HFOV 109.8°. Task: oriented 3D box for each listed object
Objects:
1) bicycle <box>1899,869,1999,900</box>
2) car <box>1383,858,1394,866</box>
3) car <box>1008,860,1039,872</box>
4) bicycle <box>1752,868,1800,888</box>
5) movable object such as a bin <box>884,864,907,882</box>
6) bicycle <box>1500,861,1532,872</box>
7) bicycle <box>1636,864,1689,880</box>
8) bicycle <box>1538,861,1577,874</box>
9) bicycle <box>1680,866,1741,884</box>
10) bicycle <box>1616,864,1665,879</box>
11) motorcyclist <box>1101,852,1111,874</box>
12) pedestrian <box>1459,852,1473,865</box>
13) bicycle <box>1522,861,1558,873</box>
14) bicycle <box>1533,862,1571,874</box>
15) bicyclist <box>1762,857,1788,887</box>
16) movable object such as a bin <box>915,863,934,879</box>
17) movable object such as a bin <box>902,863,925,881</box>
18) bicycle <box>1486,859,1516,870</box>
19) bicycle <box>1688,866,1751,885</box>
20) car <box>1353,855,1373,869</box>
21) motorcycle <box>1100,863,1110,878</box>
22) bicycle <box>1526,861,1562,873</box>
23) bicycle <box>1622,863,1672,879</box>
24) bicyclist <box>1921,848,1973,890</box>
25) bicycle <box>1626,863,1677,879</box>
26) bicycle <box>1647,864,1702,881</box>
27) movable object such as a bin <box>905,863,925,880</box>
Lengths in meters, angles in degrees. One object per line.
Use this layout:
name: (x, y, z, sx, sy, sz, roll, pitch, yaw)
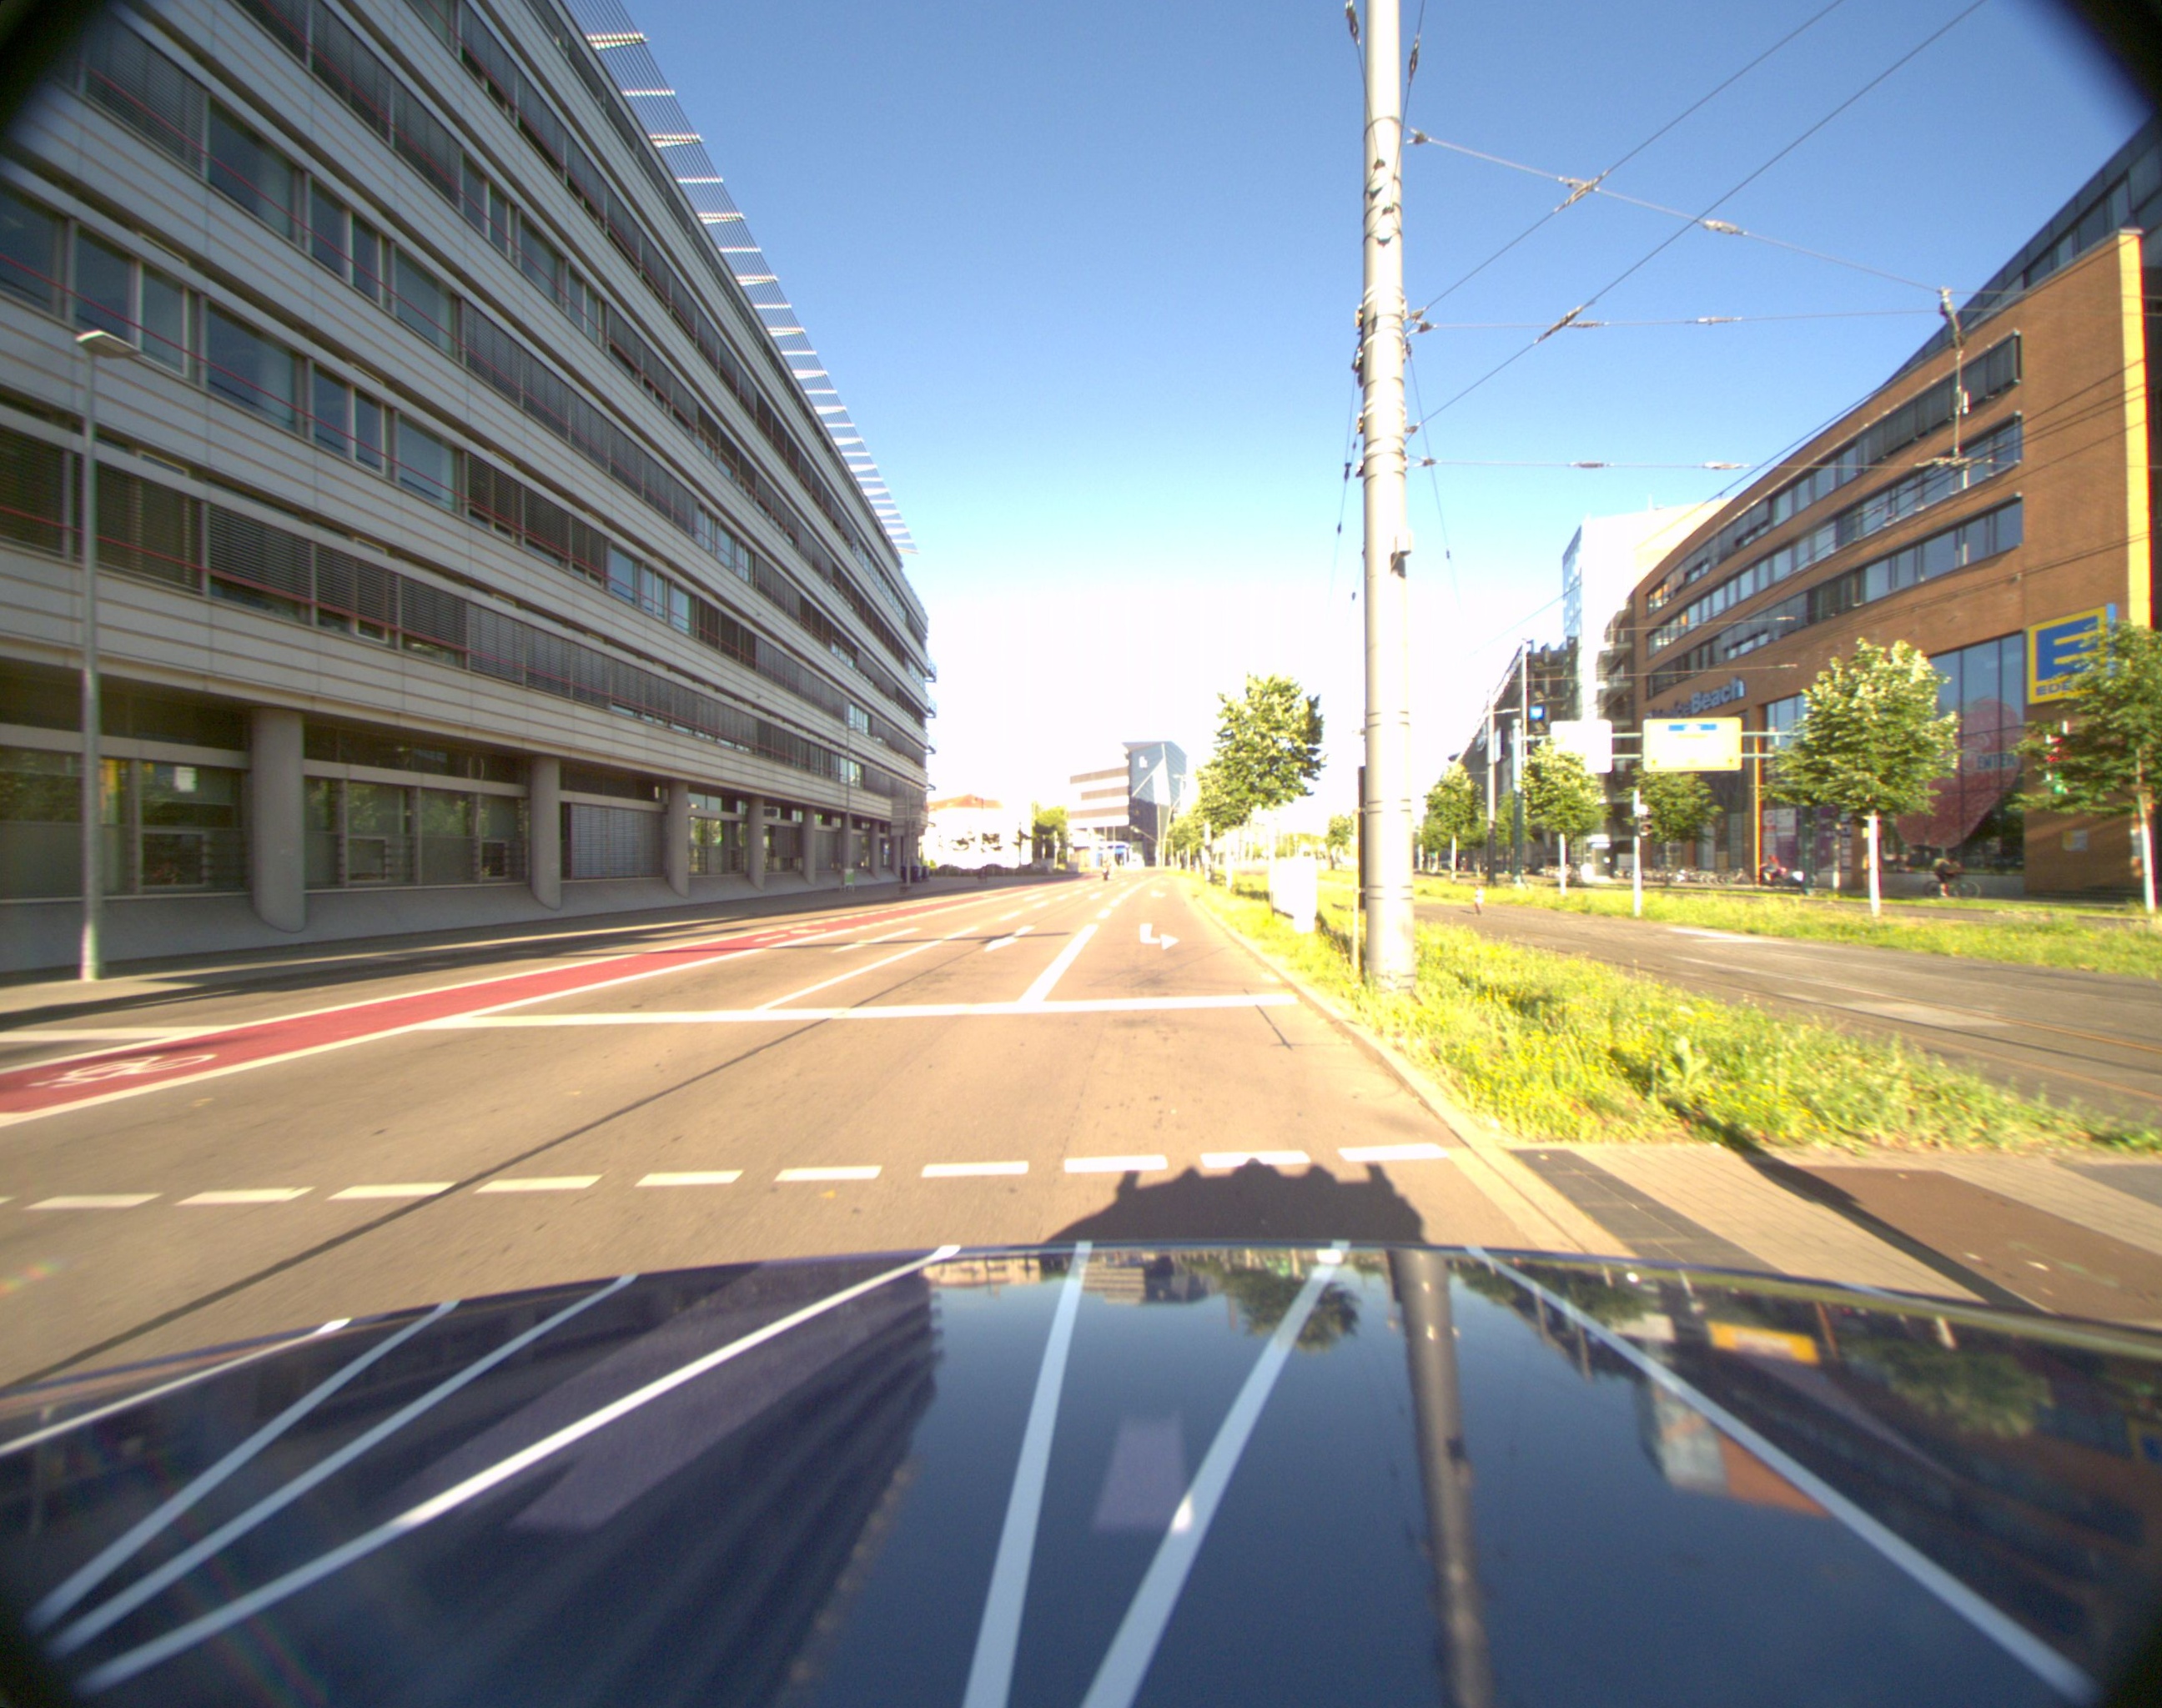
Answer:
bicycle: (32.777, 1.134, 28.777, 0.895, 1.097, 2.693, 0, -1, 6)
car: (61.865, 1.642, 152.838, 1.623, 1.519, 4.364, 1, 0, 29)
car: (-7.342, 1.521, 96.291, 3.790, 1.523, 1.744, 0, 0, 42)
bicycle: (35.572, 1.201, 38.899, 0.691, 0.944, 2.068, 0, 0, 5)
movable object such as a bin: (-13.772, 1.381, 56.570, 1.327, 1.293, 1.174, 0, 0, 5)
bicycle: (43.385, 1.259, 75.781, 2.686, 1.097, 0.897, 0, -1, 16)
bicycle: (39.027, 1.203, 51.061, 2.686, 1.097, 0.897, 0, -1, 16)
bicycle: (40.661, 1.129, 64.868, 2.686, 1.097, 0.897, 0, -1, 16)
bicycle: (37.451, 1.249, 45.255, 2.686, 1.097, 0.897, 0, -1, 16)
bicycle: (40.443, 1.256, 54.982, 2.686, 1.097, 0.897, 0, -1, 16)
motorcyclist: (2.132, 0.776, 65.825, 0.821, 1.846, 1.112, 0, 0, 3)
pedestrian: (47.440, 0.562, 93.616, 1.071, 1.671, 1.095, 0, 0, -1)
bicycle: (42.373, 1.200, 70.202, 2.686, 1.097, 0.897, 0, -1, 16)
bicycle: (41.353, 1.228, 66.689, 2.686, 1.097, 0.897, 0, -1, 16)
bicyclist: (35.577, 0.929, 38.950, 0.691, 1.521, 0.703, 0, 0, 5)
movable object such as a bin: (-12.533, 1.353, 60.973, 1.173, 1.293, 1.329, 0, 0, 6)
movable object such as a bin: (-12.416, 1.343, 56.423, 1.327, 1.293, 1.174, 0, 0, 5)
bicycle: (44.902, 1.168, 81.243, 2.686, 1.182, 0.897, 0, -1, 16)
bicycle: (37.167, 1.232, 44.247, 2.686, 1.097, 0.897, 0, -1, 16)
car: (32.260, 0.936, 86.947, 1.624, 1.519, 4.808, 0, 0, 13)
motorcycle: (2.115, 1.438, 65.723, 0.821, 1.214, 2.256, 0, 0, 3)
bicycle: (42.178, 1.202, 69.303, 2.686, 1.097, 0.826, 0, -1, 16)
bicycle: (40.107, 1.222, 53.845, 2.686, 1.097, 0.897, 0, -1, 16)
bicyclist: (32.787, 0.565, 28.781, 0.895, 1.539, 0.940, 0, 0, 6)
bicycle: (39.493, 1.188, 52.667, 2.686, 1.097, 0.897, 0, -1, 16)
bicycle: (38.843, 1.208, 49.732, 2.686, 1.097, 0.897, 0, -1, 16)
movable object such as a bin: (-13.014, 1.359, 59.668, 1.173, 1.293, 1.329, 0, 0, 6)
